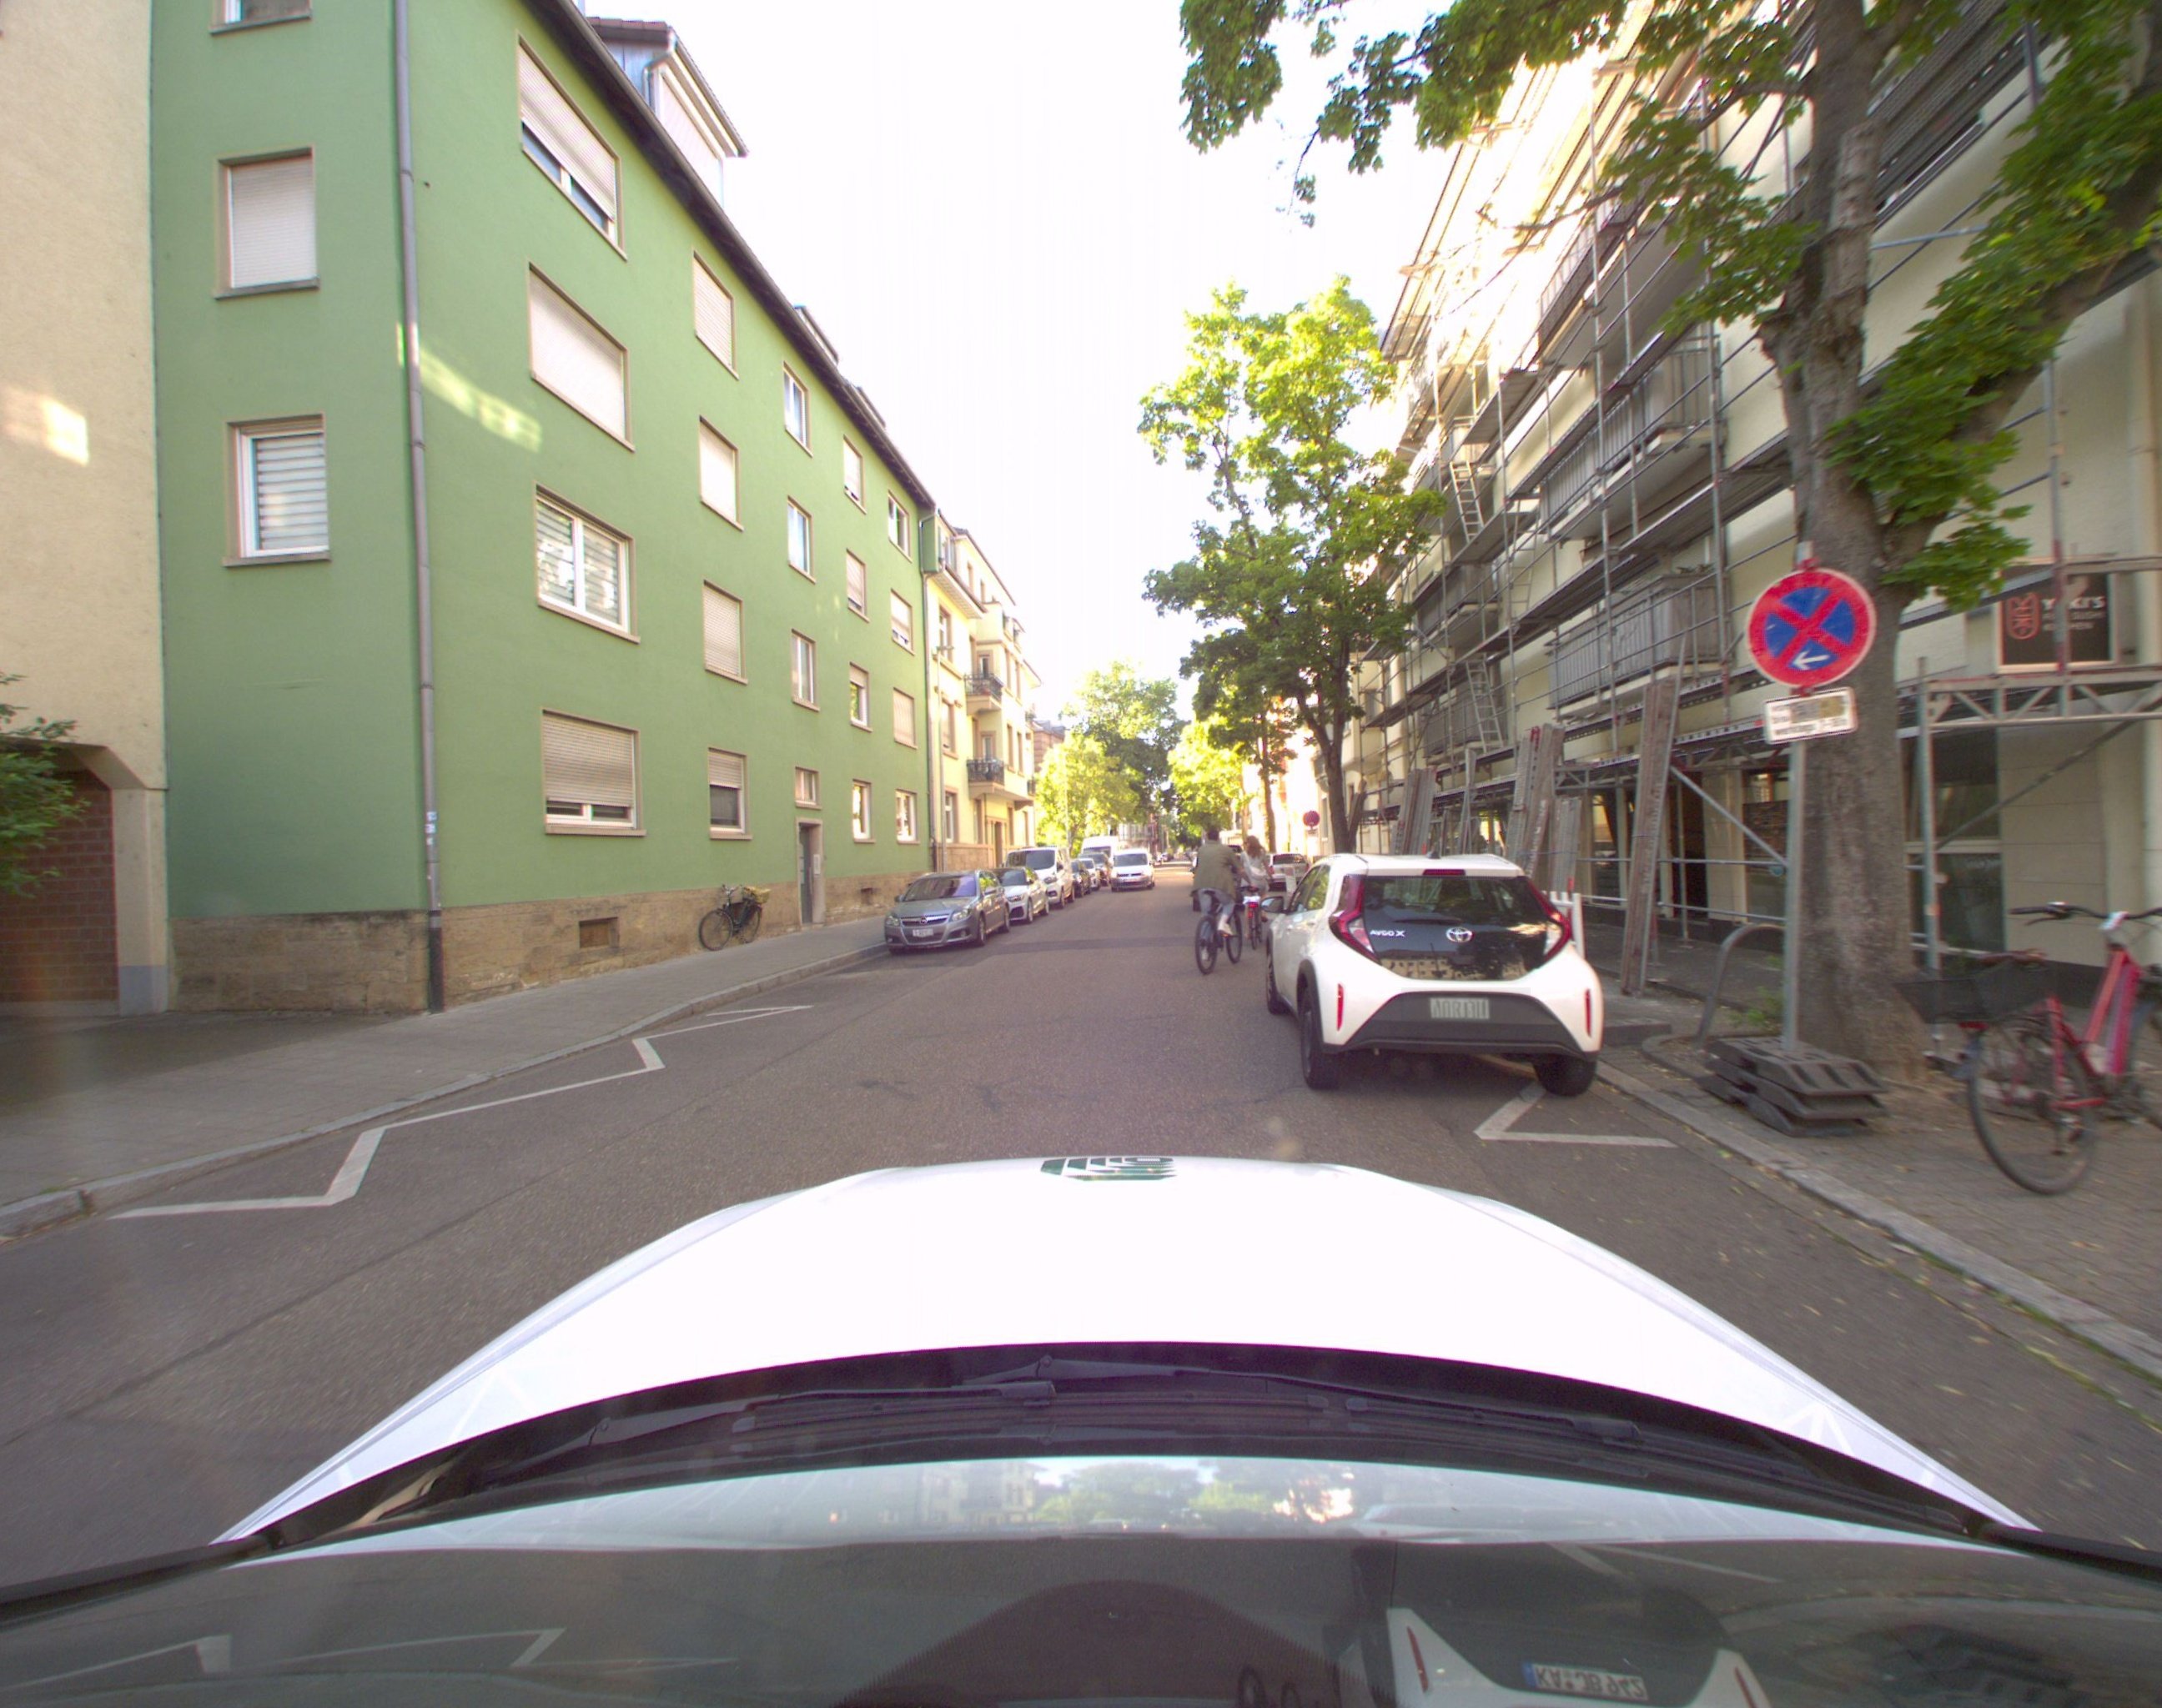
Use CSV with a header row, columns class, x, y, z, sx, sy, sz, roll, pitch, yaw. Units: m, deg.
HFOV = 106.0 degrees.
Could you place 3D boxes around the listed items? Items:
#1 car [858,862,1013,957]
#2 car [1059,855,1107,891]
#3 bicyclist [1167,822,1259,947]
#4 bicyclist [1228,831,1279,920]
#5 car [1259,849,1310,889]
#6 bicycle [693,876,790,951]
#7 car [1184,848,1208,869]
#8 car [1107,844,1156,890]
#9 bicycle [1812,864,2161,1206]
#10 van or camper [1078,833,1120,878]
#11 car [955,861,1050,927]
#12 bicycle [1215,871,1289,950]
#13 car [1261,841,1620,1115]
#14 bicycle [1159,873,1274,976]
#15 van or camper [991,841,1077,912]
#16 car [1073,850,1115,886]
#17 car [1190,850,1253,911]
class,x,y,z,sx,sy,sz,roll,pitch,yaw
car,-2.700,0.992,16.158,1.970,1.455,4.118,-4,0,4
car,0.139,0.844,37.978,1.701,1.504,4.008,-2,0,7
bicyclist,1.755,0.412,10.804,0.873,1.562,0.873,-4,-4,30
bicyclist,2.825,0.372,13.269,0.618,1.381,0.872,-4,-5,20
car,7.690,0.537,31.002,1.548,1.409,3.389,1,1,9
bicycle,-6.169,1.039,14.955,0.547,1.178,2.284,1,0,8
car,9.480,0.386,67.219,1.678,1.604,4.006,-3,0,6
car,2.282,0.538,36.058,1.772,1.861,4.208,-3,0,8
bicycle,4.558,0.711,3.718,1.981,1.165,0.724,-5,0,-11
van or camper,1.153,0.080,49.411,1.983,2.553,5.031,-2,0,6
car,-1.939,0.973,21.179,1.678,1.453,3.717,-3,0,6
bicycle,2.823,0.870,13.276,0.832,1.149,2.244,-1,-1,20
car,2.425,0.706,6.385,1.666,1.545,3.410,-1,0,7
bicycle,1.861,0.862,10.850,0.831,1.149,2.246,0,0,28
van or camper,-1.417,0.665,26.713,1.984,2.013,4.919,-3,0,6
car,0.738,0.693,42.424,1.701,1.699,4.008,-2,0,7
car,3.819,0.668,22.416,1.547,1.533,3.495,-1,0,9
